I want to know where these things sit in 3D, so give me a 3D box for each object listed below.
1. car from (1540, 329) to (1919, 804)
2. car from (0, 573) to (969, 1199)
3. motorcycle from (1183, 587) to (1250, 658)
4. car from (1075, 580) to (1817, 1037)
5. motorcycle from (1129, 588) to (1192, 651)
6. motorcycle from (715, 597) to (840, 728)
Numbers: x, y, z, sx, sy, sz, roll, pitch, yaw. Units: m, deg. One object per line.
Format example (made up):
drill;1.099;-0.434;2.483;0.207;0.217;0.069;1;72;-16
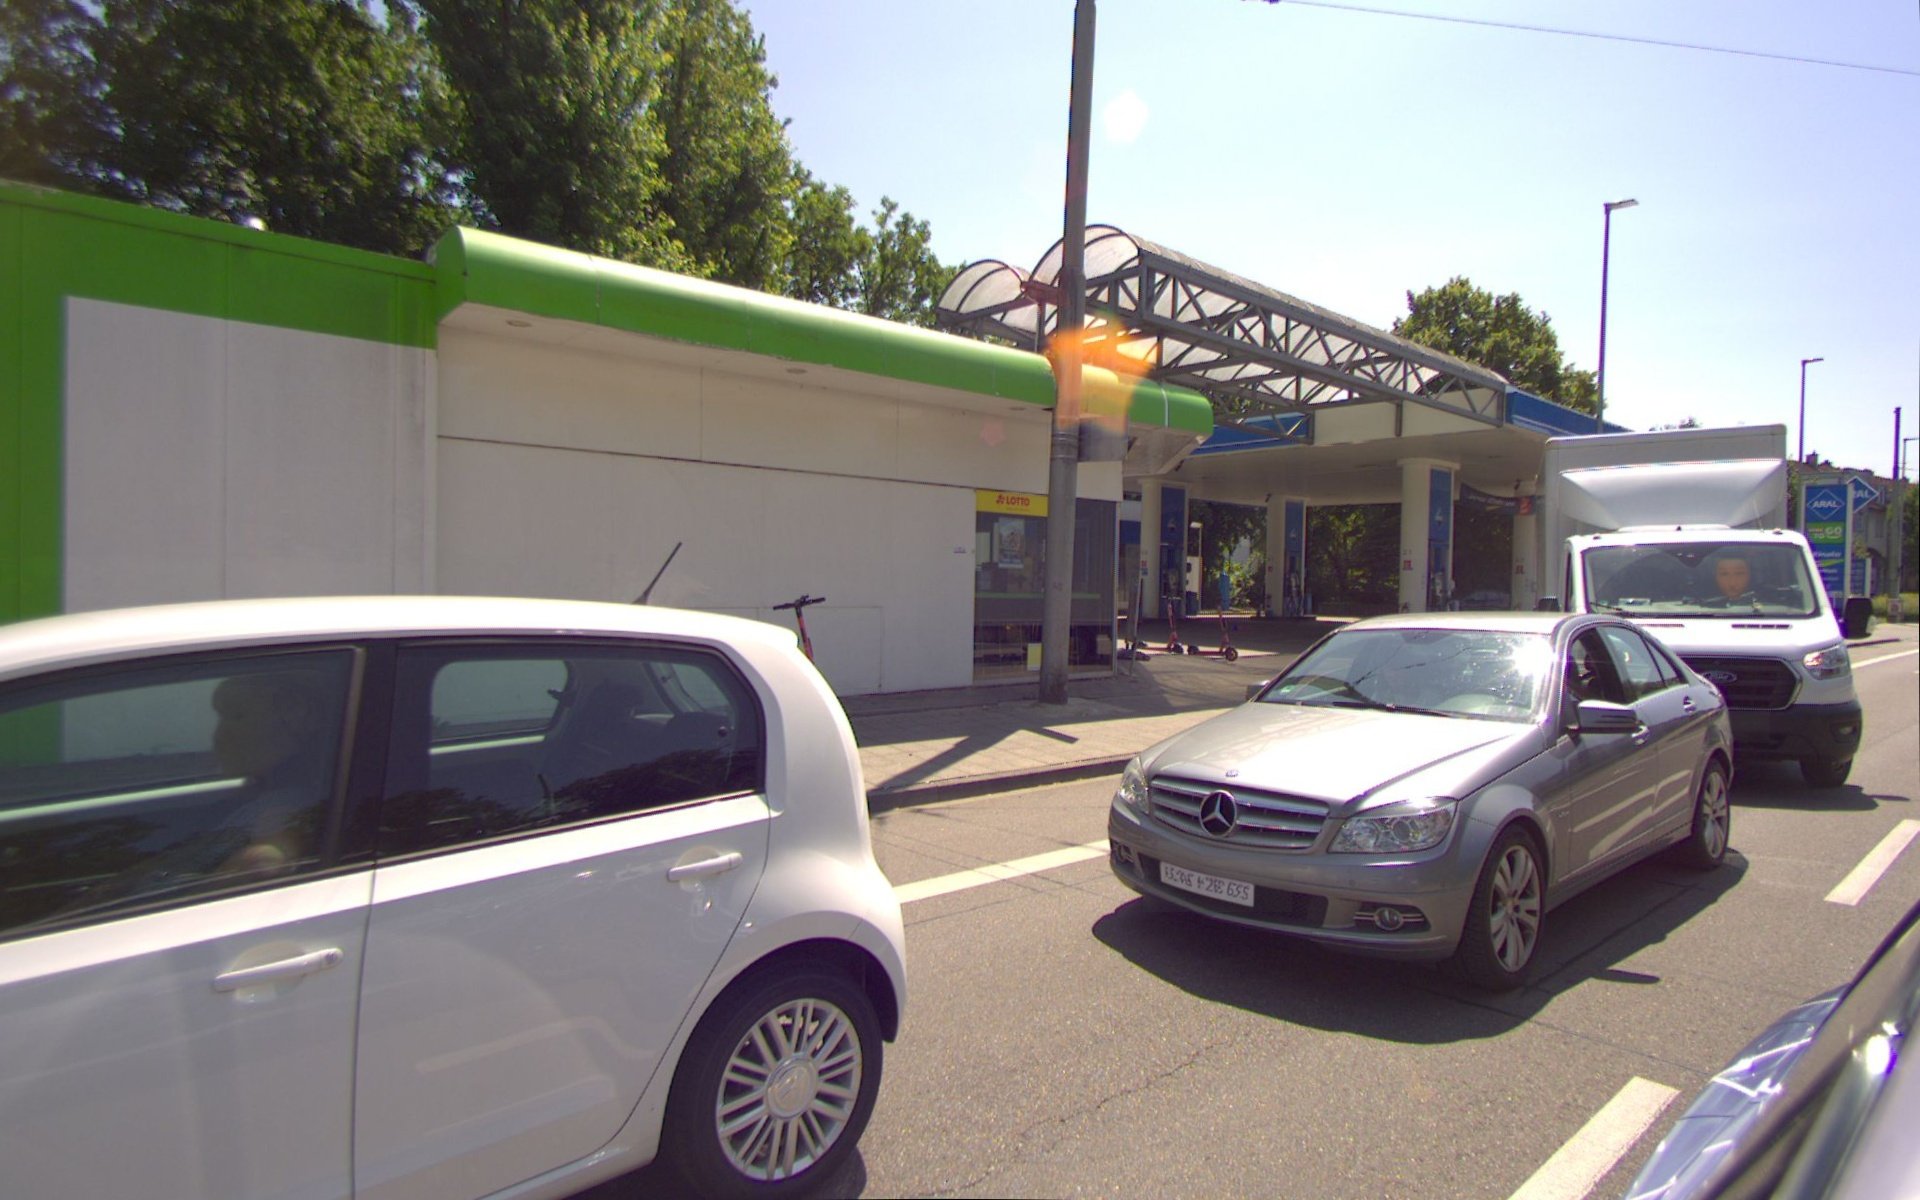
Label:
car;7.930;-0.266;11.480;2.211;3.377;8.546;-1;0;29
car;-1.776;0.690;2.309;3.374;1.466;1.612;1;0;-40
motorcycle;4.798;0.411;18.973;0.357;1.225;1.156;2;2;-41
car;3.074;0.700;5.651;5.206;1.492;1.716;0;-1;-40
motorcycle;3.938;0.370;19.897;0.389;1.127;1.156;2;2;-41
motorcycle;-1.664;0.553;9.314;1.098;1.118;0.253;-1;7;-40
